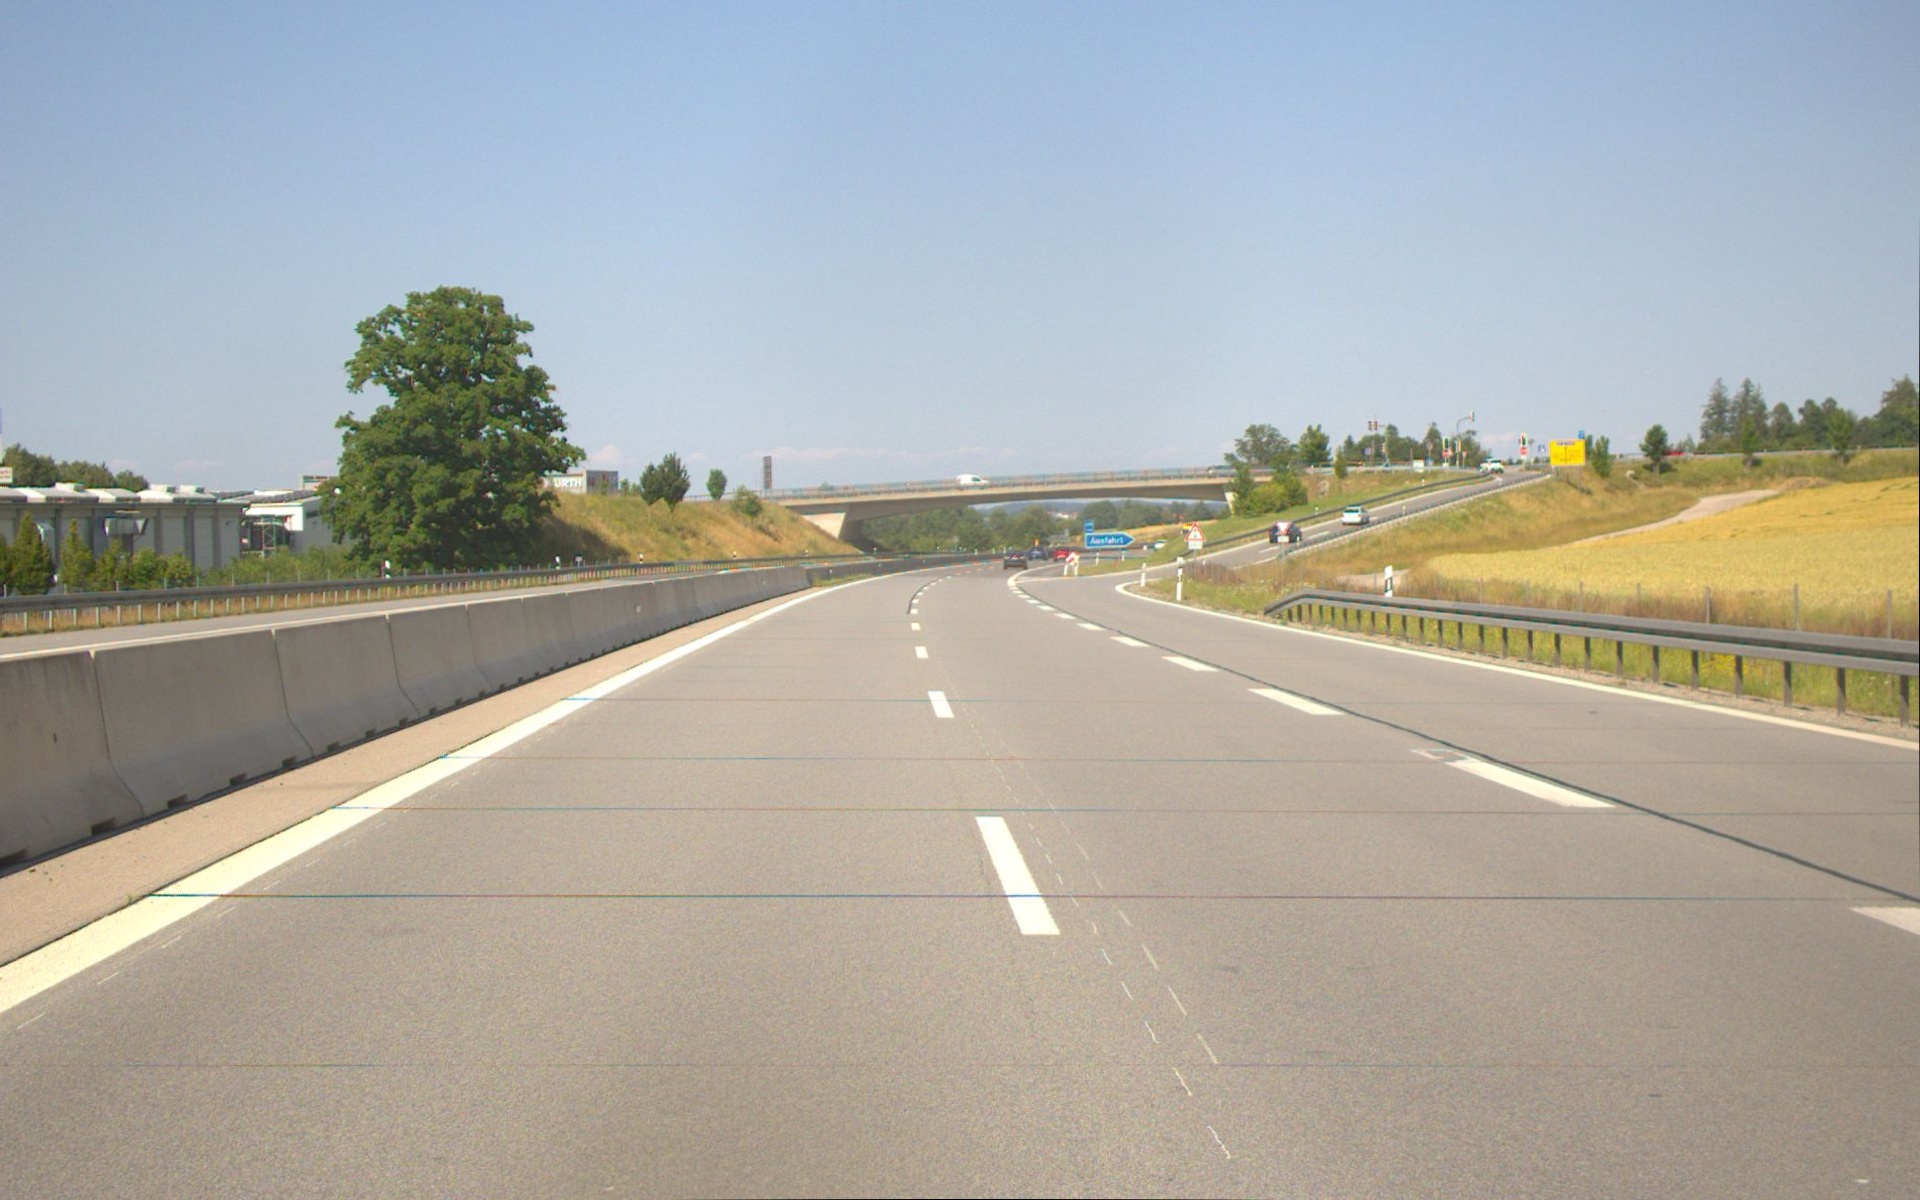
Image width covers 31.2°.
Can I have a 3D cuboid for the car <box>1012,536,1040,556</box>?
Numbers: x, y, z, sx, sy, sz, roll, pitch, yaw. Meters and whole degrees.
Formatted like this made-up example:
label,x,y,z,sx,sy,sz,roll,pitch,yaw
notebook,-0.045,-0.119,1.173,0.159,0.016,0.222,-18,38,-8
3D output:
label,x,y,z,sx,sy,sz,roll,pitch,yaw
car,4.935,-4.007,256.071,1.994,1.415,4.000,-2,1,2
